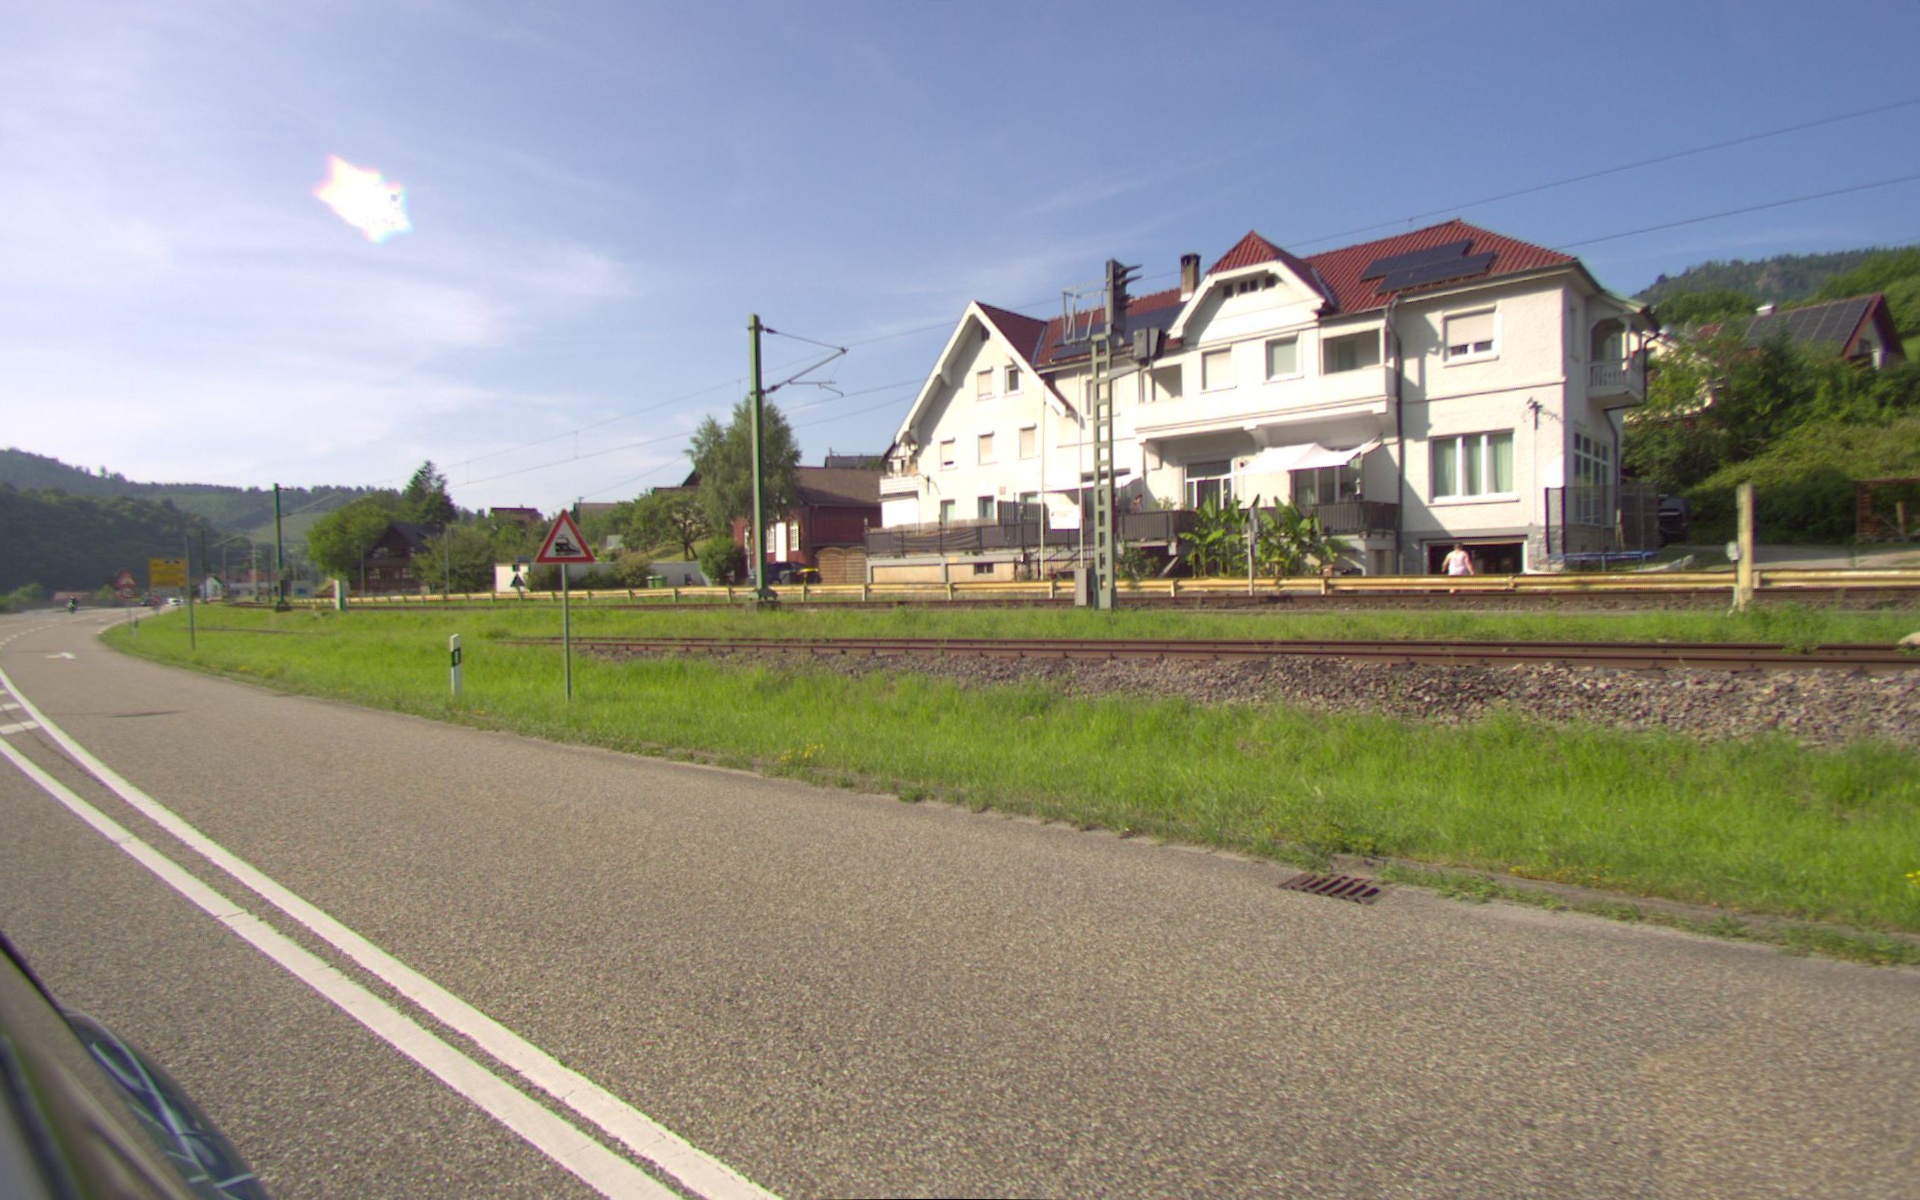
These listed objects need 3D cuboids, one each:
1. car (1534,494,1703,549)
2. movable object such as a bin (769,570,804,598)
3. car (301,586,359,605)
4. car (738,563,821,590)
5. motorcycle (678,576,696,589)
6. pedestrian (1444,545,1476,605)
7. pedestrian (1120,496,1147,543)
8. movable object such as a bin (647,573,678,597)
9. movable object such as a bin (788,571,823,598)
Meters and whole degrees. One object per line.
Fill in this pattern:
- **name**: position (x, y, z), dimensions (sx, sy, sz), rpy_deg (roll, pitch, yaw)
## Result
- **car**: position (24.136, -2.831, 37.215), dimensions (4.925, 1.875, 2.203), rpy_deg (3, 4, 42)
- **movable object such as a bin**: position (-7.851, -0.718, 45.724), dimensions (1.143, 1.200, 1.078), rpy_deg (-1, 2, 44)
- **car**: position (-94.508, -0.658, 151.841), dimensions (6.965, 2.475, 2.958), rpy_deg (-3, 1, -24)
- **car**: position (-9.761, -1.277, 54.754), dimensions (4.040, 1.280, 1.741), rpy_deg (-3, 1, -34)
- **motorcycle**: position (-21.592, -1.392, 80.122), dimensions (0.654, 1.000, 1.746), rpy_deg (-3, 2, -41)
- **pedestrian**: position (13.809, -0.697, 27.937), dimensions (0.608, 1.628, 0.668), rpy_deg (-1, 1, 42)
- **pedestrian**: position (6.195, -2.857, 36.184), dimensions (0.678, 1.628, 0.600), rpy_deg (-1, 1, 43)
- **movable object such as a bin**: position (-15.859, -0.795, 54.008), dimensions (1.092, 1.200, 1.129), rpy_deg (-1, 2, 38)
- **movable object such as a bin**: position (-7.127, -0.720, 46.629), dimensions (1.143, 1.200, 1.078), rpy_deg (-1, 2, 44)
